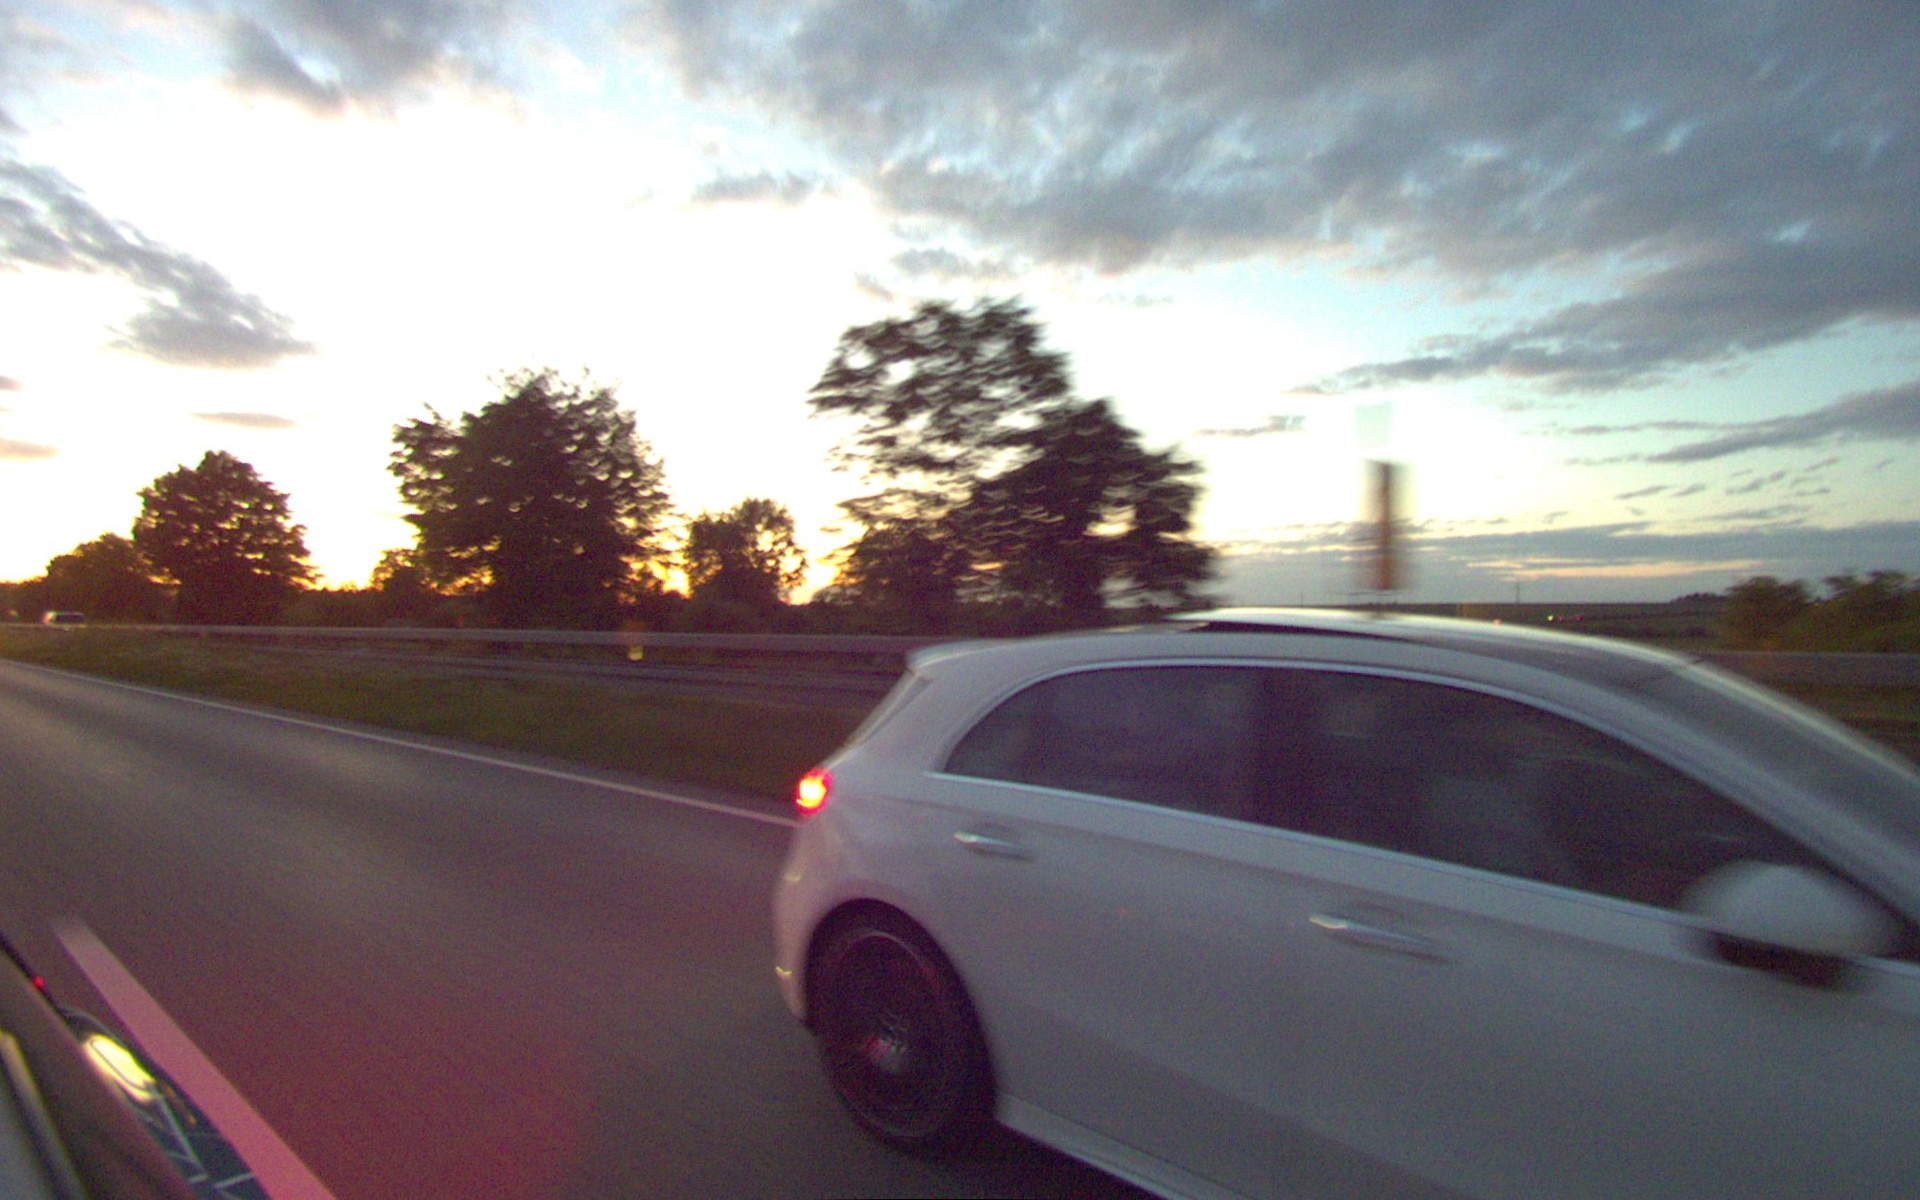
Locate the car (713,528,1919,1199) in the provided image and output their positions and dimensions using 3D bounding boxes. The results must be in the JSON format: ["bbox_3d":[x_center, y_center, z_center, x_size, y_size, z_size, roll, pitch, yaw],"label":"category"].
[{"bbox_3d":[1.509,0.653,2.224,4.576,1.501,1.625,-1,0,40],"label":"car"}]

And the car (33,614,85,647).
[{"bbox_3d":[-61.546,2.059,69.090,5.343,2.115,1.945,-1,0,40],"label":"car"}]
